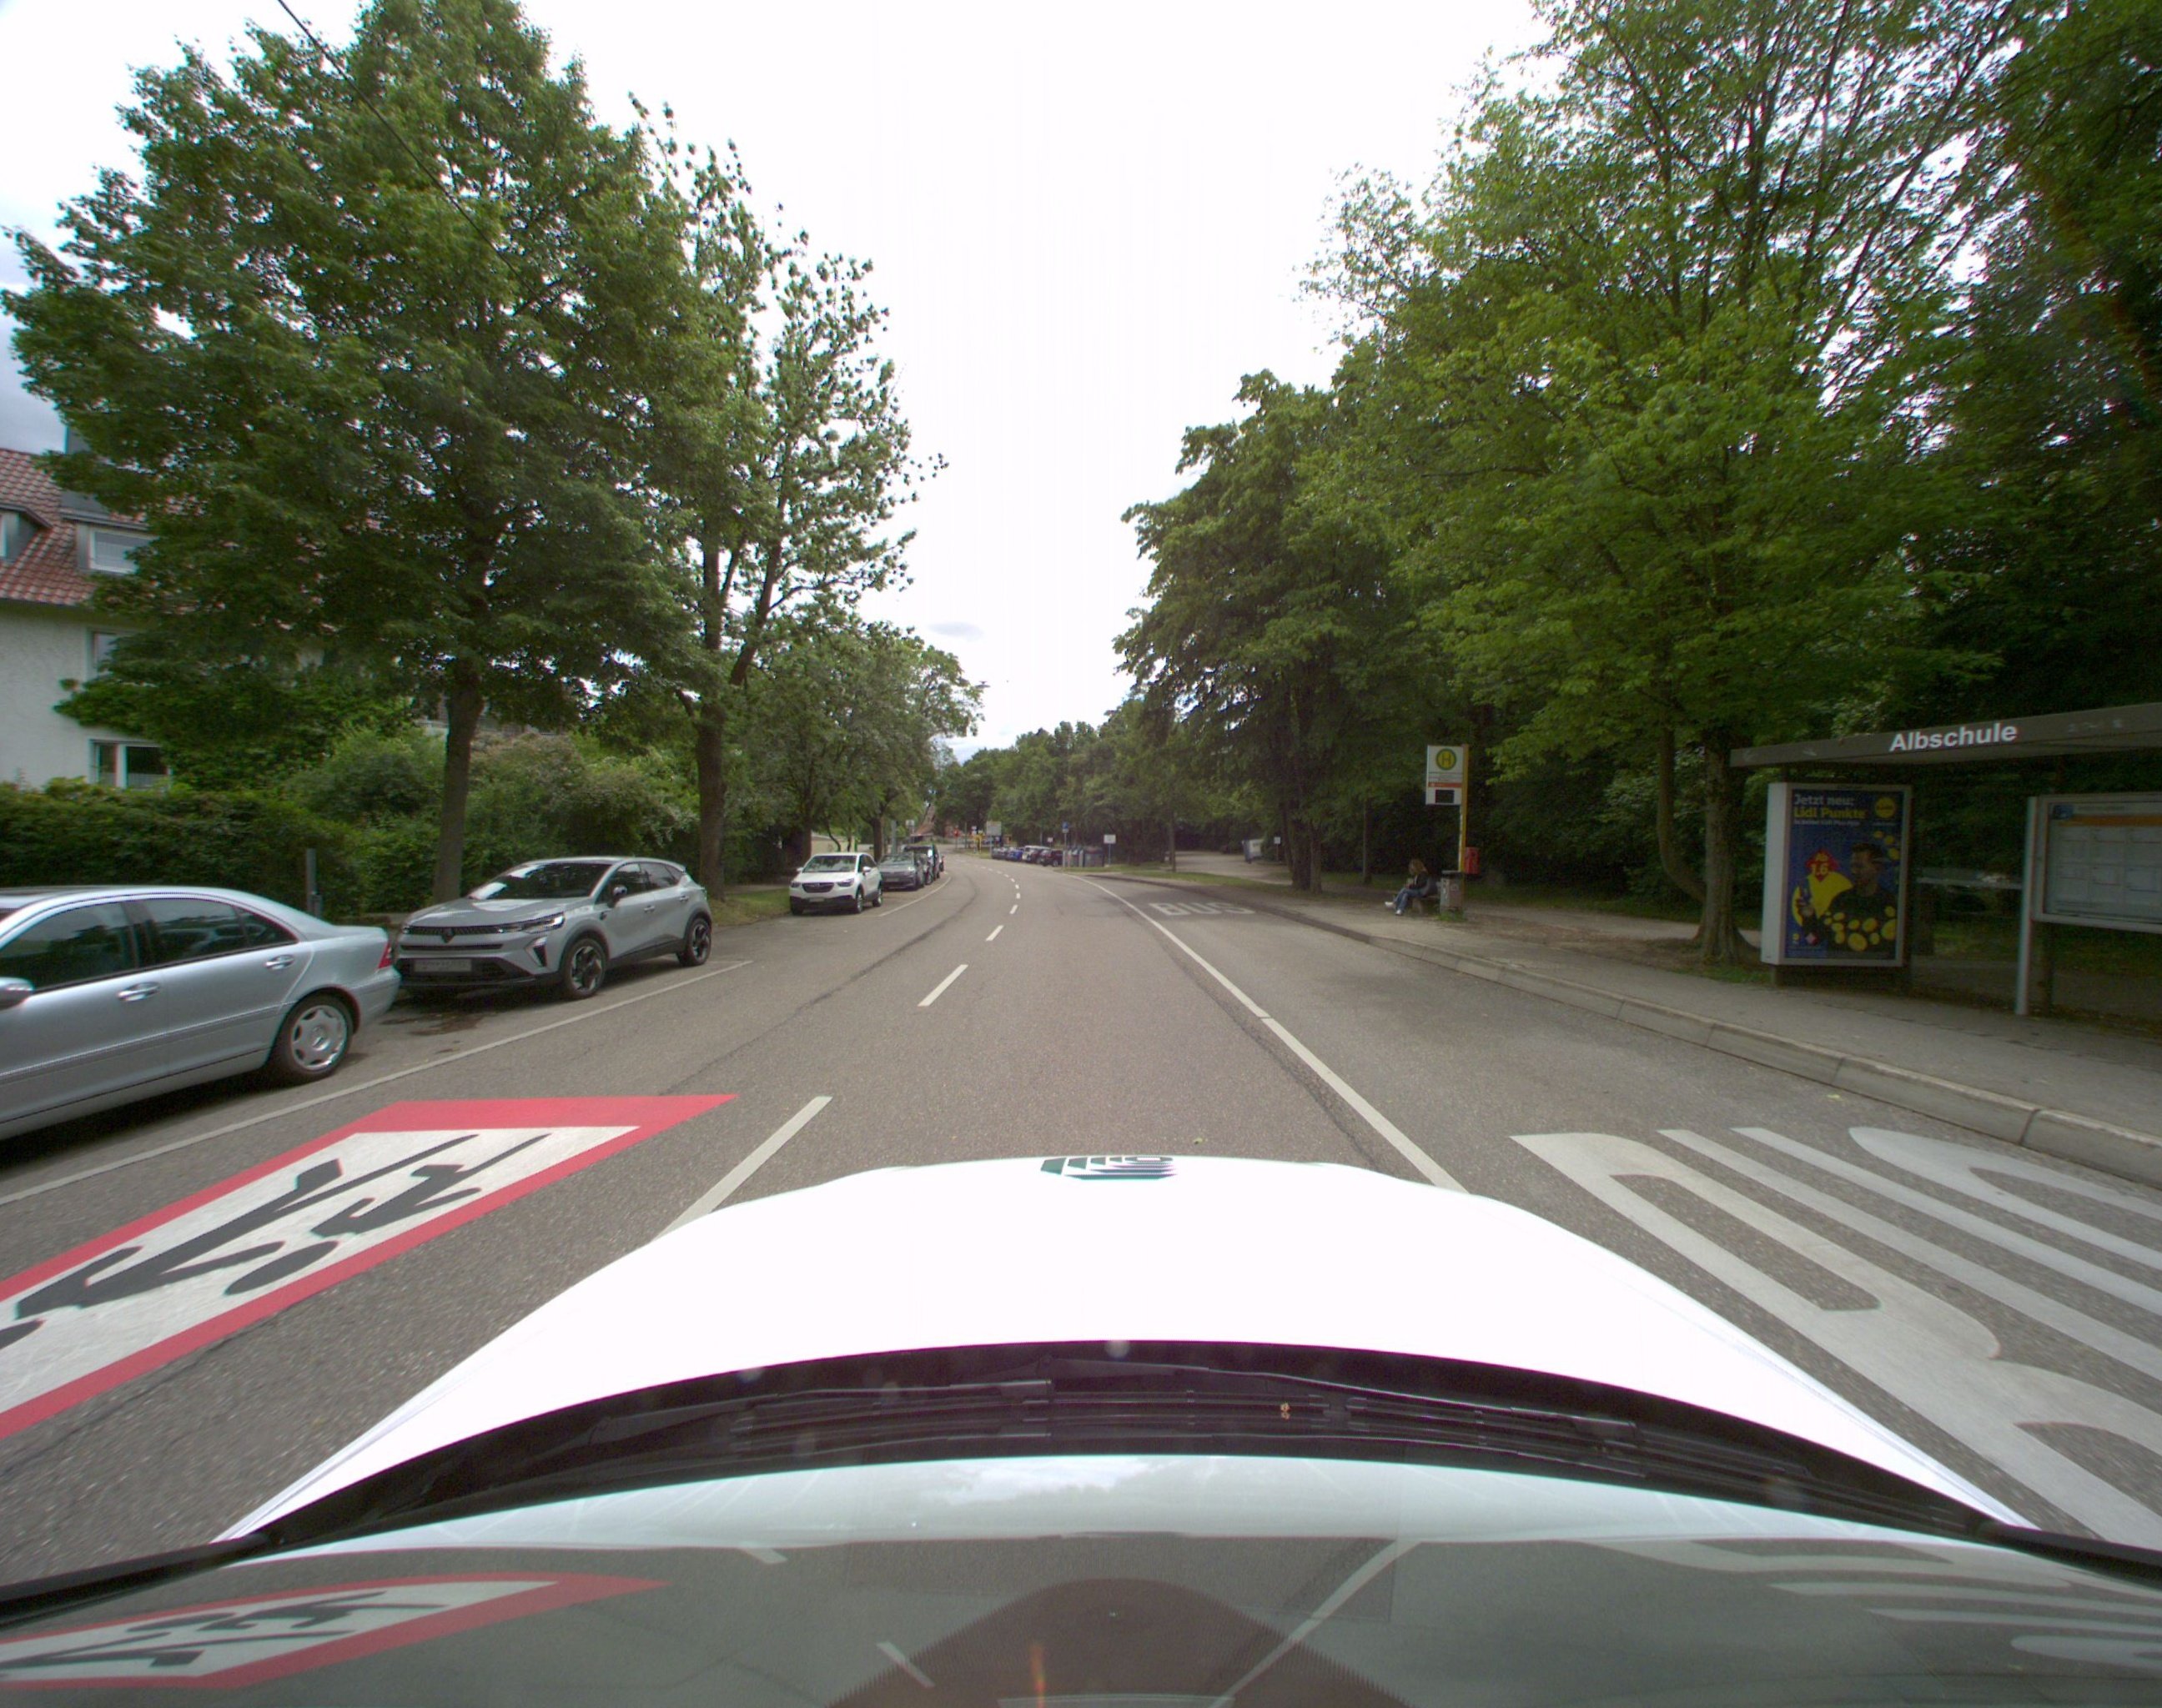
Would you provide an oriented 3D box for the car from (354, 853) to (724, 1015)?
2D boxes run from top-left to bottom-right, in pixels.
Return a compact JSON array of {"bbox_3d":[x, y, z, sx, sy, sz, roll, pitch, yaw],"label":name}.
[{"bbox_3d":[-6.261,0.791,10.129,1.729,1.538,4.190,-1,0,1],"label":"car"}]

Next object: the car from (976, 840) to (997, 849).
[{"bbox_3d":[-19.081,-1.943,164.600,3.873,1.647,1.979,-1,1,-35],"label":"car"}]

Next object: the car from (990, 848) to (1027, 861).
[{"bbox_3d":[-8.362,0.071,93.939,3.845,1.425,1.728,3,-1,-33],"label":"car"}]

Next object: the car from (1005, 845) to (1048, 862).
[{"bbox_3d":[-5.420,-0.015,81.436,3.845,1.528,1.728,3,-1,-33],"label":"car"}]

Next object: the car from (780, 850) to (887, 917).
[{"bbox_3d":[-6.510,0.714,21.869,1.731,1.578,4.138,-1,0,-2],"label":"car"}]

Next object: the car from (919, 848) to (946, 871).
[{"bbox_3d":[-11.023,0.398,60.236,1.806,1.563,4.250,-3,1,-12],"label":"car"}]

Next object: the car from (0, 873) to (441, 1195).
[{"bbox_3d":[-5.990,0.897,4.448,1.733,1.416,4.464,-1,0,-5],"label":"car"}]

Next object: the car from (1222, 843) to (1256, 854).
[{"bbox_3d":[20.856,-0.707,107.571,3.984,1.409,1.795,0,0,-8],"label":"car"}]

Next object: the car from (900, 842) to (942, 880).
[{"bbox_3d":[-8.516,0.347,43.601,1.856,1.909,5.070,0,0,-7],"label":"car"}]

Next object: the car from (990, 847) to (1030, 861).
[{"bbox_3d":[-7.794,-0.007,89.172,3.899,1.426,1.811,3,-1,-33],"label":"car"}]

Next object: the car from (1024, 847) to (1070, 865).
[{"bbox_3d":[-3.088,0.158,74.383,3.845,1.468,1.729,3,0,-33],"label":"car"}]

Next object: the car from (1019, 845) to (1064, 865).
[{"bbox_3d":[-3.735,0.079,76.996,3.845,1.720,1.859,3,-1,-33],"label":"car"}]

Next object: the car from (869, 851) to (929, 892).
[{"bbox_3d":[-7.431,0.677,33.653,1.863,1.538,4.219,0,0,-5],"label":"car"}]

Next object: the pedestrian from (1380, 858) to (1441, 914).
[{"bbox_3d":[7.055,0.676,17.471,1.062,1.182,0.579,0,0,-5],"label":"pedestrian"}]

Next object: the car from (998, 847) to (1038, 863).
[{"bbox_3d":[-6.694,0.108,86.207,3.845,1.528,1.728,3,-1,-33],"label":"car"}]

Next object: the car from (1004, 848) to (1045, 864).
[{"bbox_3d":[-5.816,0.188,84.337,3.845,1.528,1.728,3,-1,-33],"label":"car"}]

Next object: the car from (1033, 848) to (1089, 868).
[{"bbox_3d":[-1.603,0.312,66.218,4.014,1.414,2.037,3,1,-33],"label":"car"}]
